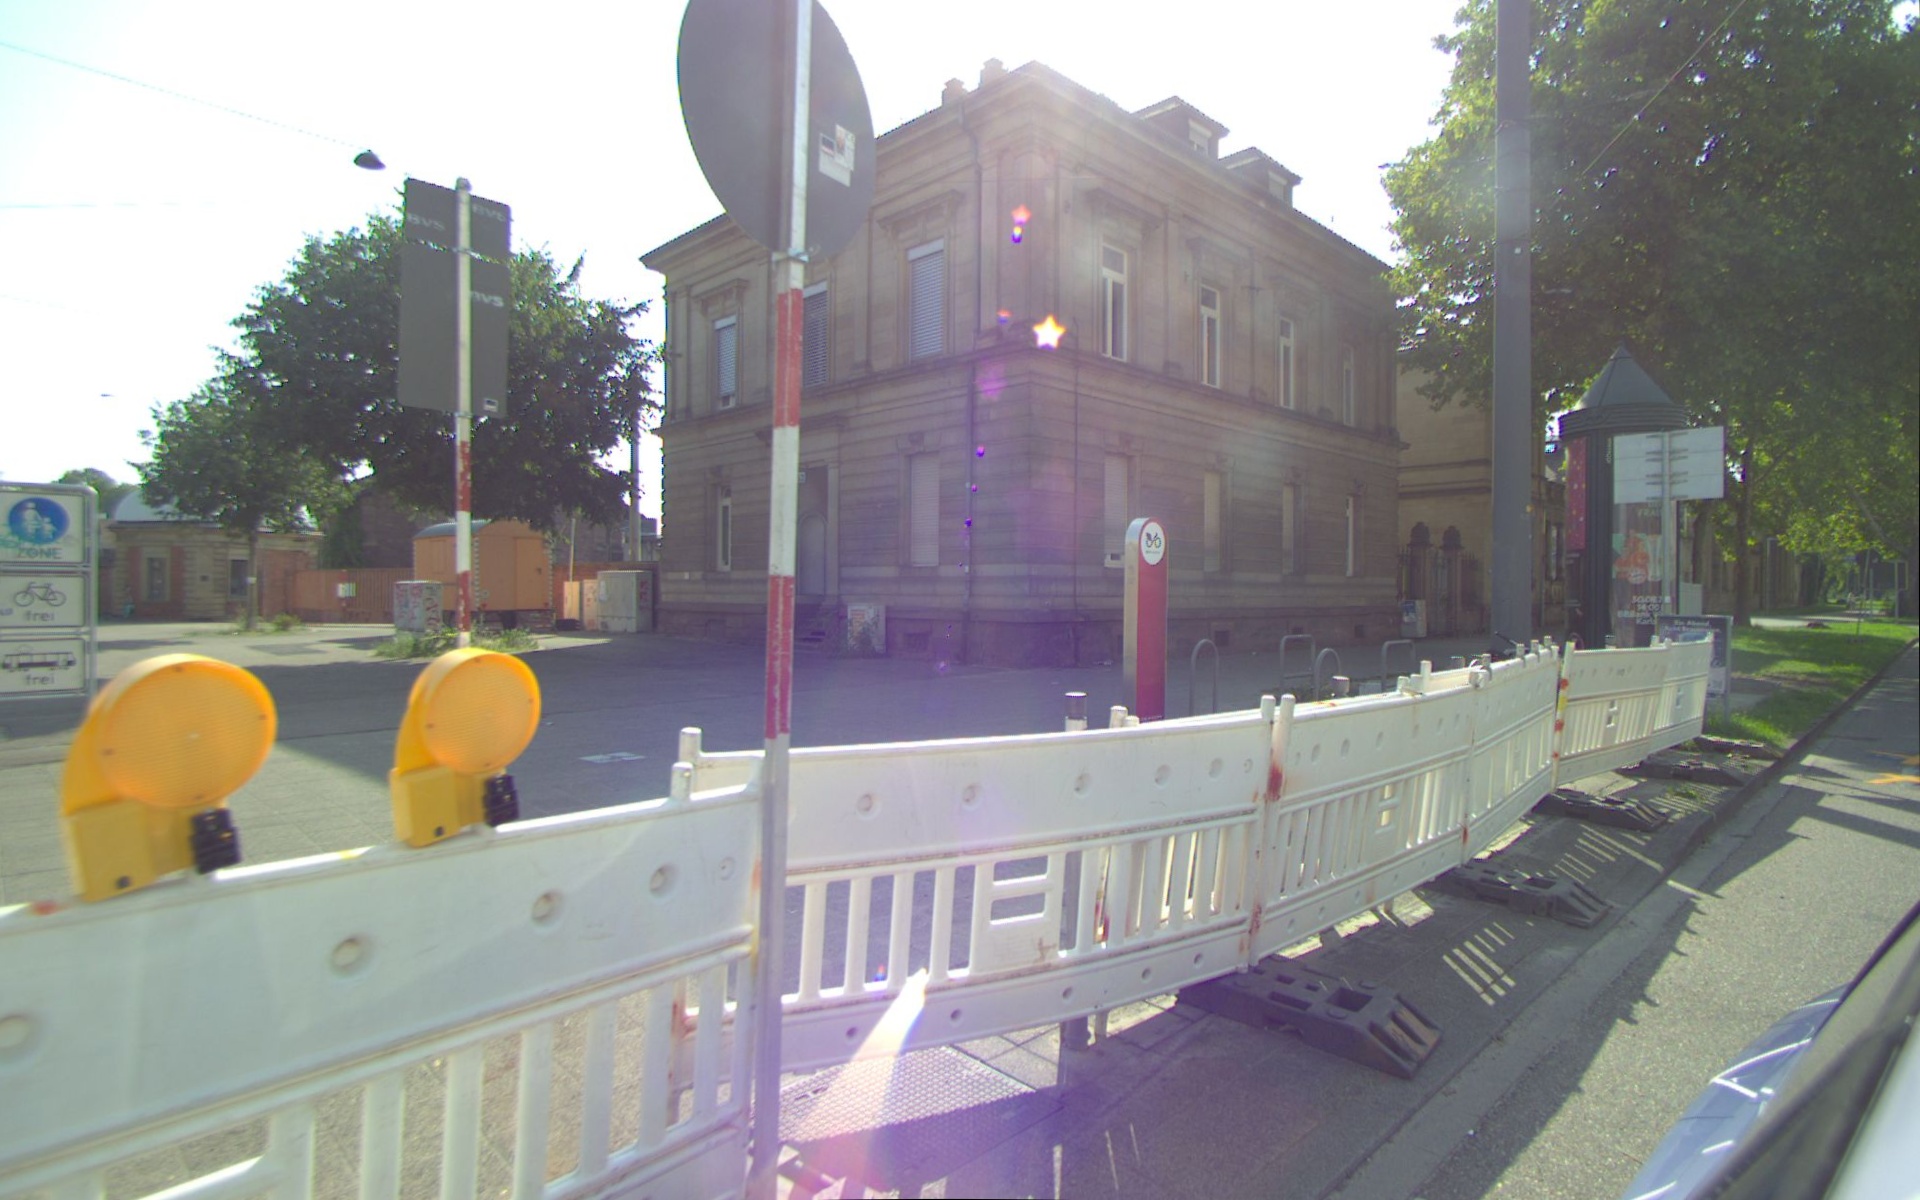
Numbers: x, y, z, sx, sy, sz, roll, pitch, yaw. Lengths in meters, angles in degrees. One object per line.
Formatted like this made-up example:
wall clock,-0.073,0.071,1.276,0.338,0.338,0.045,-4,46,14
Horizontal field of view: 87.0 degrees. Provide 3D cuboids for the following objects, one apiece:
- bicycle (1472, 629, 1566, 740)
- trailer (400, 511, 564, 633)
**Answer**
bicycle,5.607,0.812,10.125,1.353,0.999,0.410,0,1,-43
trailer,-13.186,-0.785,27.884,3.978,3.106,2.523,1,2,38
